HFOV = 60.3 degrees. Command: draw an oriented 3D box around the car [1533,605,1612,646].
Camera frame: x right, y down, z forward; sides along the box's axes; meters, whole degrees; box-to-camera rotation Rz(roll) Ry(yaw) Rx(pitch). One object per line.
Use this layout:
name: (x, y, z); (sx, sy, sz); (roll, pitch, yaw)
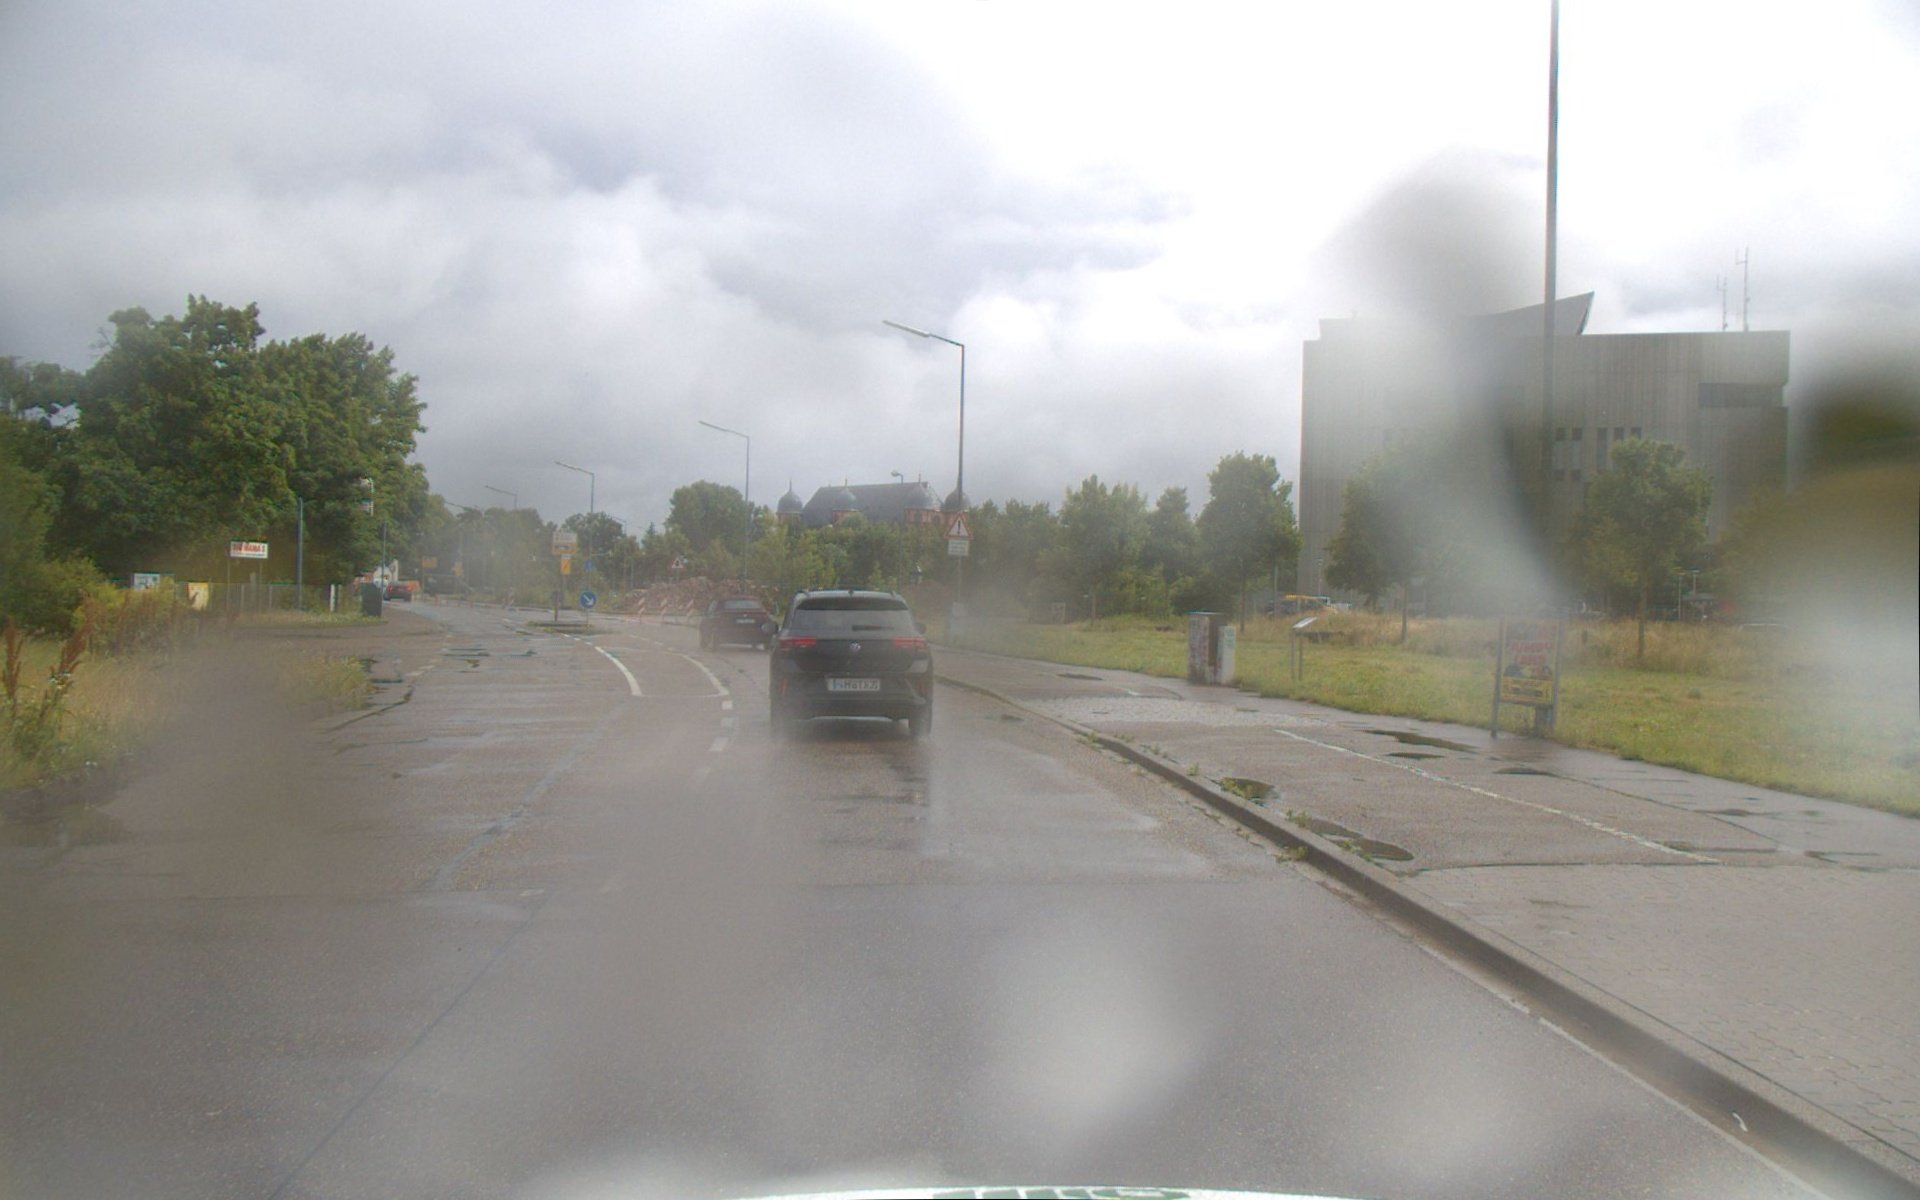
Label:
car: (31.842, 1.332, 86.015); (3.626, 2.049, 1.997); (1, -1, 28)

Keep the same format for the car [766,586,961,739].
car: (-1.215, 0.620, 18.982); (1.949, 1.547, 3.993); (0, 0, -8)

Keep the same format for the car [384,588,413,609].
car: (-46.935, -0.127, 138.204); (1.818, 1.670, 3.984); (1, 0, -25)

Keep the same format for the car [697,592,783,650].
car: (-5.975, 0.549, 44.550); (1.811, 1.467, 3.984); (-1, 0, -15)

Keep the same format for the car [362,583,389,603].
car: (-53.883, -0.665, 152.552); (1.971, 1.732, 3.984); (1, 0, -25)
